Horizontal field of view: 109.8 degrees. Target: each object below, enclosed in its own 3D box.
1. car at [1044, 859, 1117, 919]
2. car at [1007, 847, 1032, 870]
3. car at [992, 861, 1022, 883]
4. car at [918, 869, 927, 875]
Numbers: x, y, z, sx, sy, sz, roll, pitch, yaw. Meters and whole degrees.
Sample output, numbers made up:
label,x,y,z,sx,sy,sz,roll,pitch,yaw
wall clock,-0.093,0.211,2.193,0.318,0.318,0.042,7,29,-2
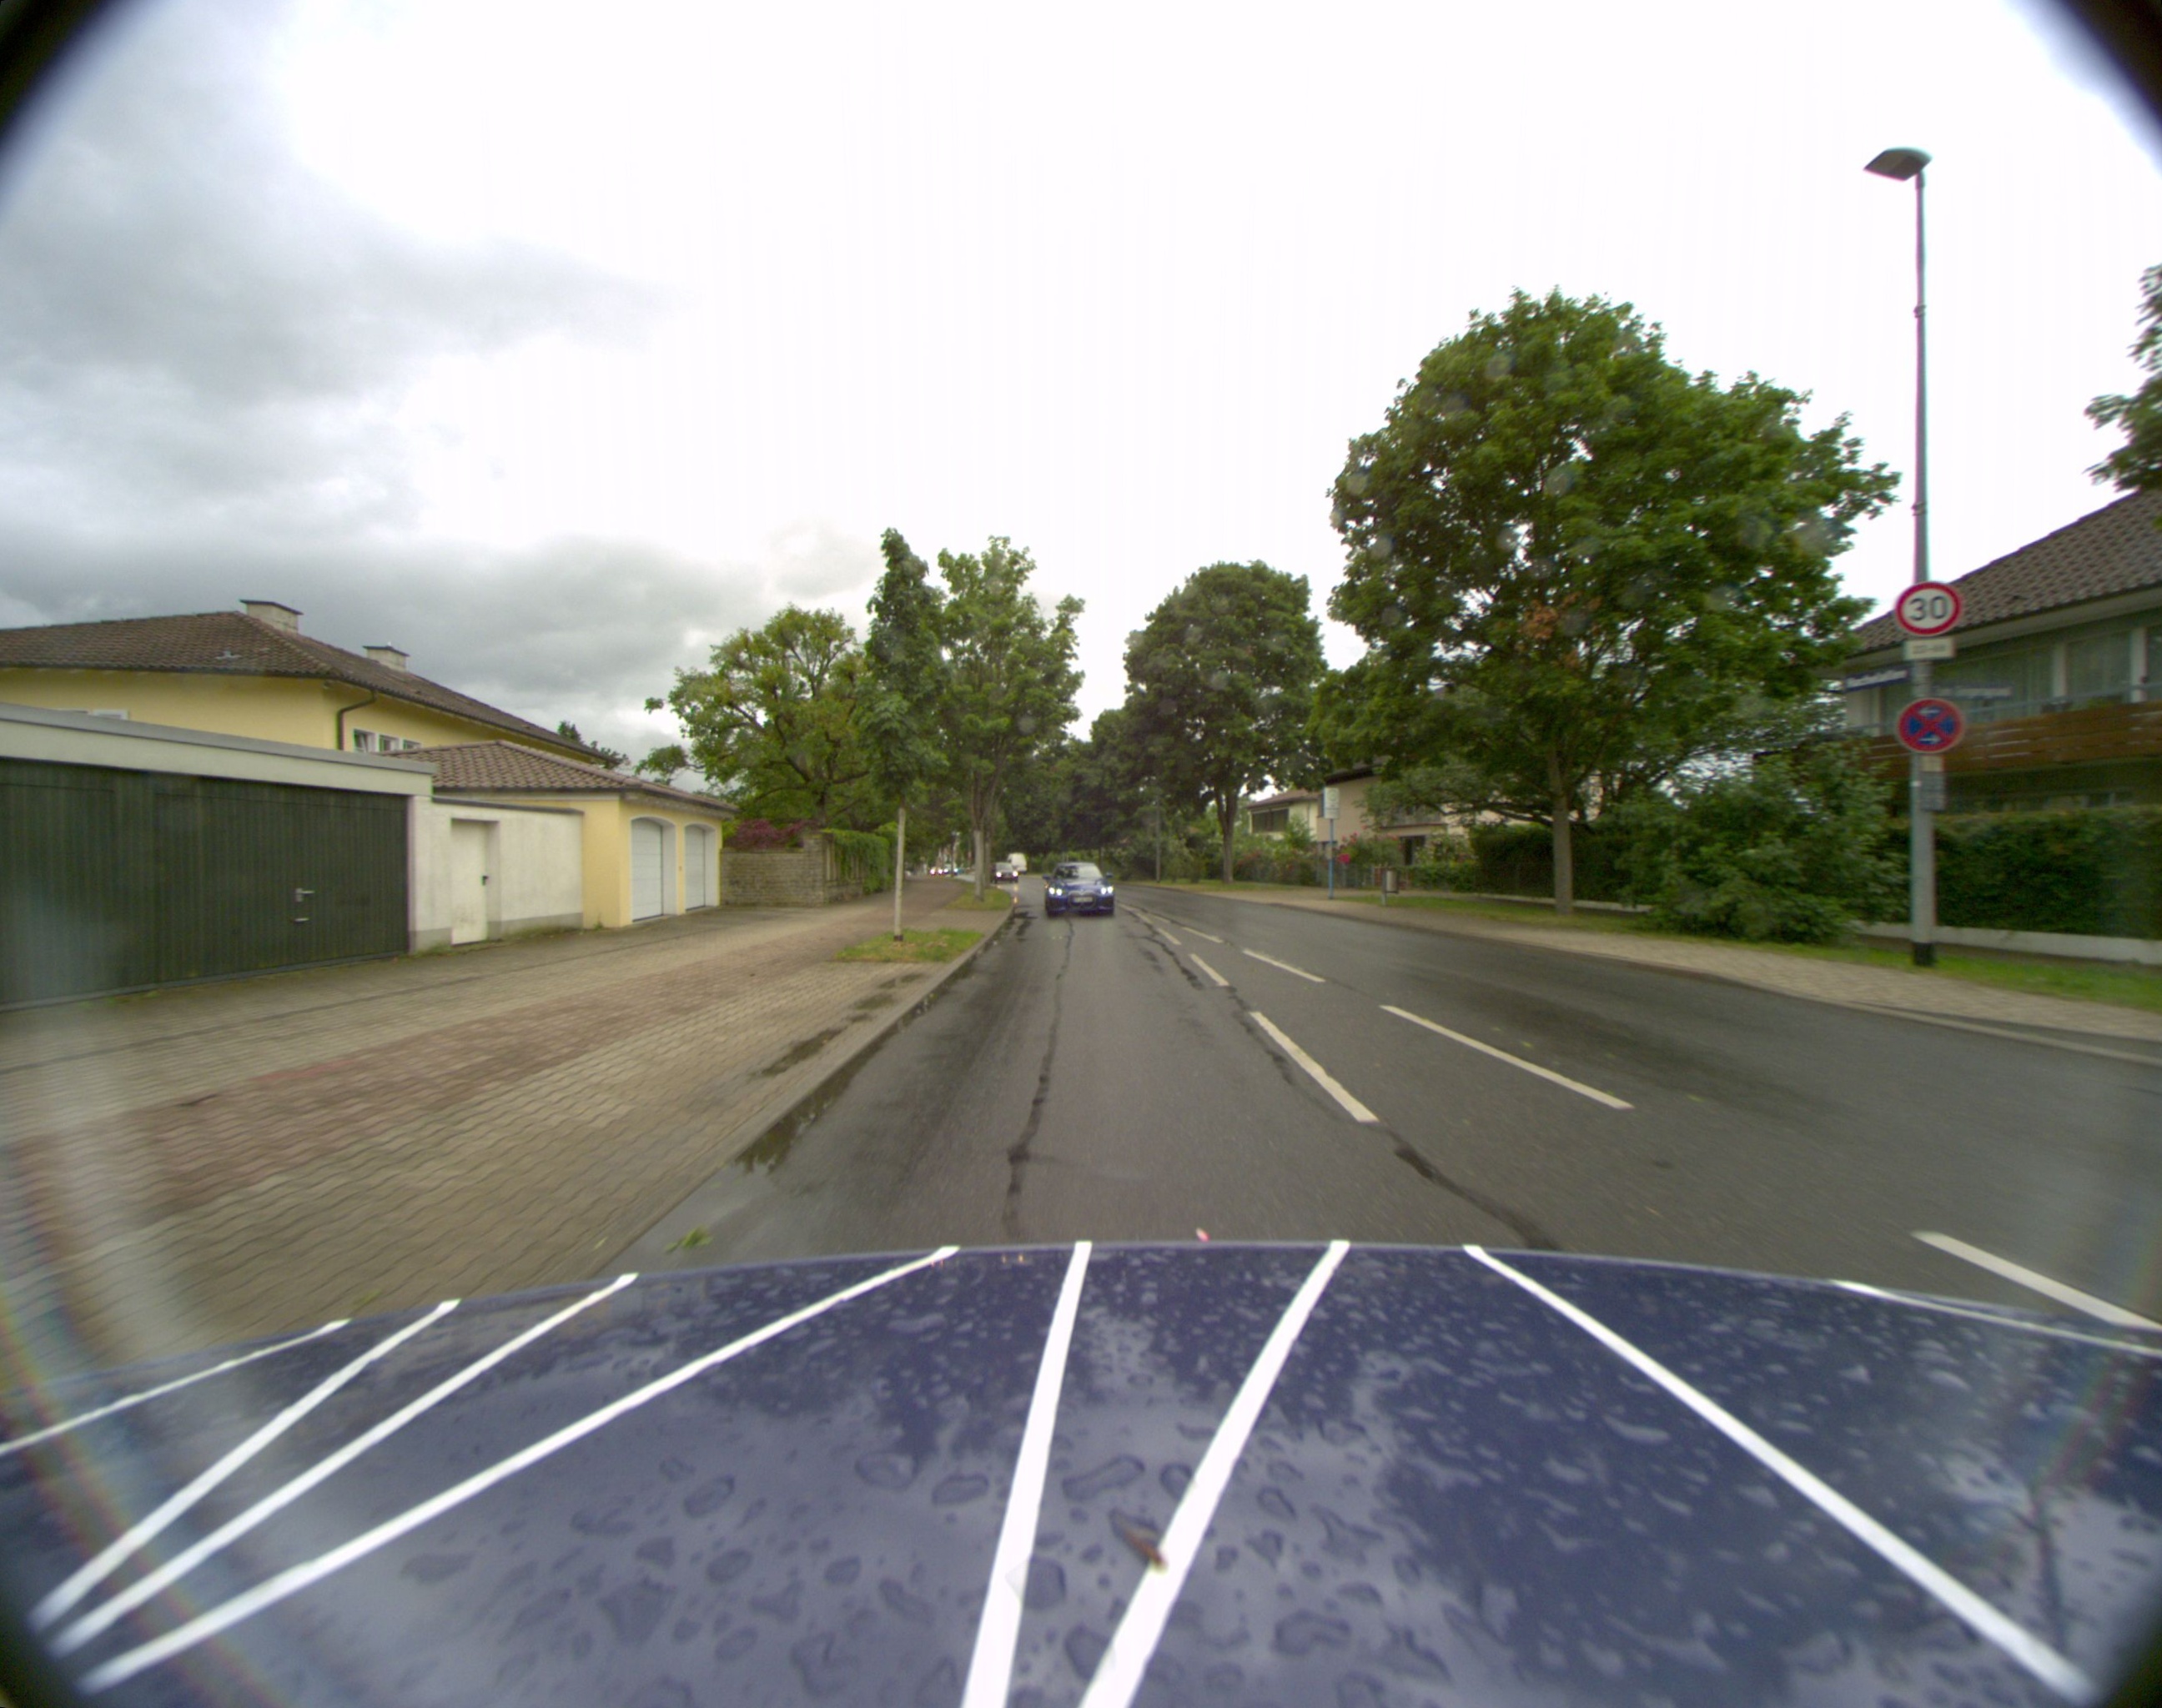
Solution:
label,x,y,z,sx,sy,sz,roll,pitch,yaw
car,-0.108,1.000,22.695,1.896,1.531,4.000,-3,-1,-3
car,-7.209,0.558,89.004,2.001,2.545,5.226,-1,-1,-15
car,-5.465,1.341,55.846,1.658,1.443,3.997,-3,-1,-12
car,-32.847,3.749,157.392,1.647,1.369,3.826,1,-2,-10
